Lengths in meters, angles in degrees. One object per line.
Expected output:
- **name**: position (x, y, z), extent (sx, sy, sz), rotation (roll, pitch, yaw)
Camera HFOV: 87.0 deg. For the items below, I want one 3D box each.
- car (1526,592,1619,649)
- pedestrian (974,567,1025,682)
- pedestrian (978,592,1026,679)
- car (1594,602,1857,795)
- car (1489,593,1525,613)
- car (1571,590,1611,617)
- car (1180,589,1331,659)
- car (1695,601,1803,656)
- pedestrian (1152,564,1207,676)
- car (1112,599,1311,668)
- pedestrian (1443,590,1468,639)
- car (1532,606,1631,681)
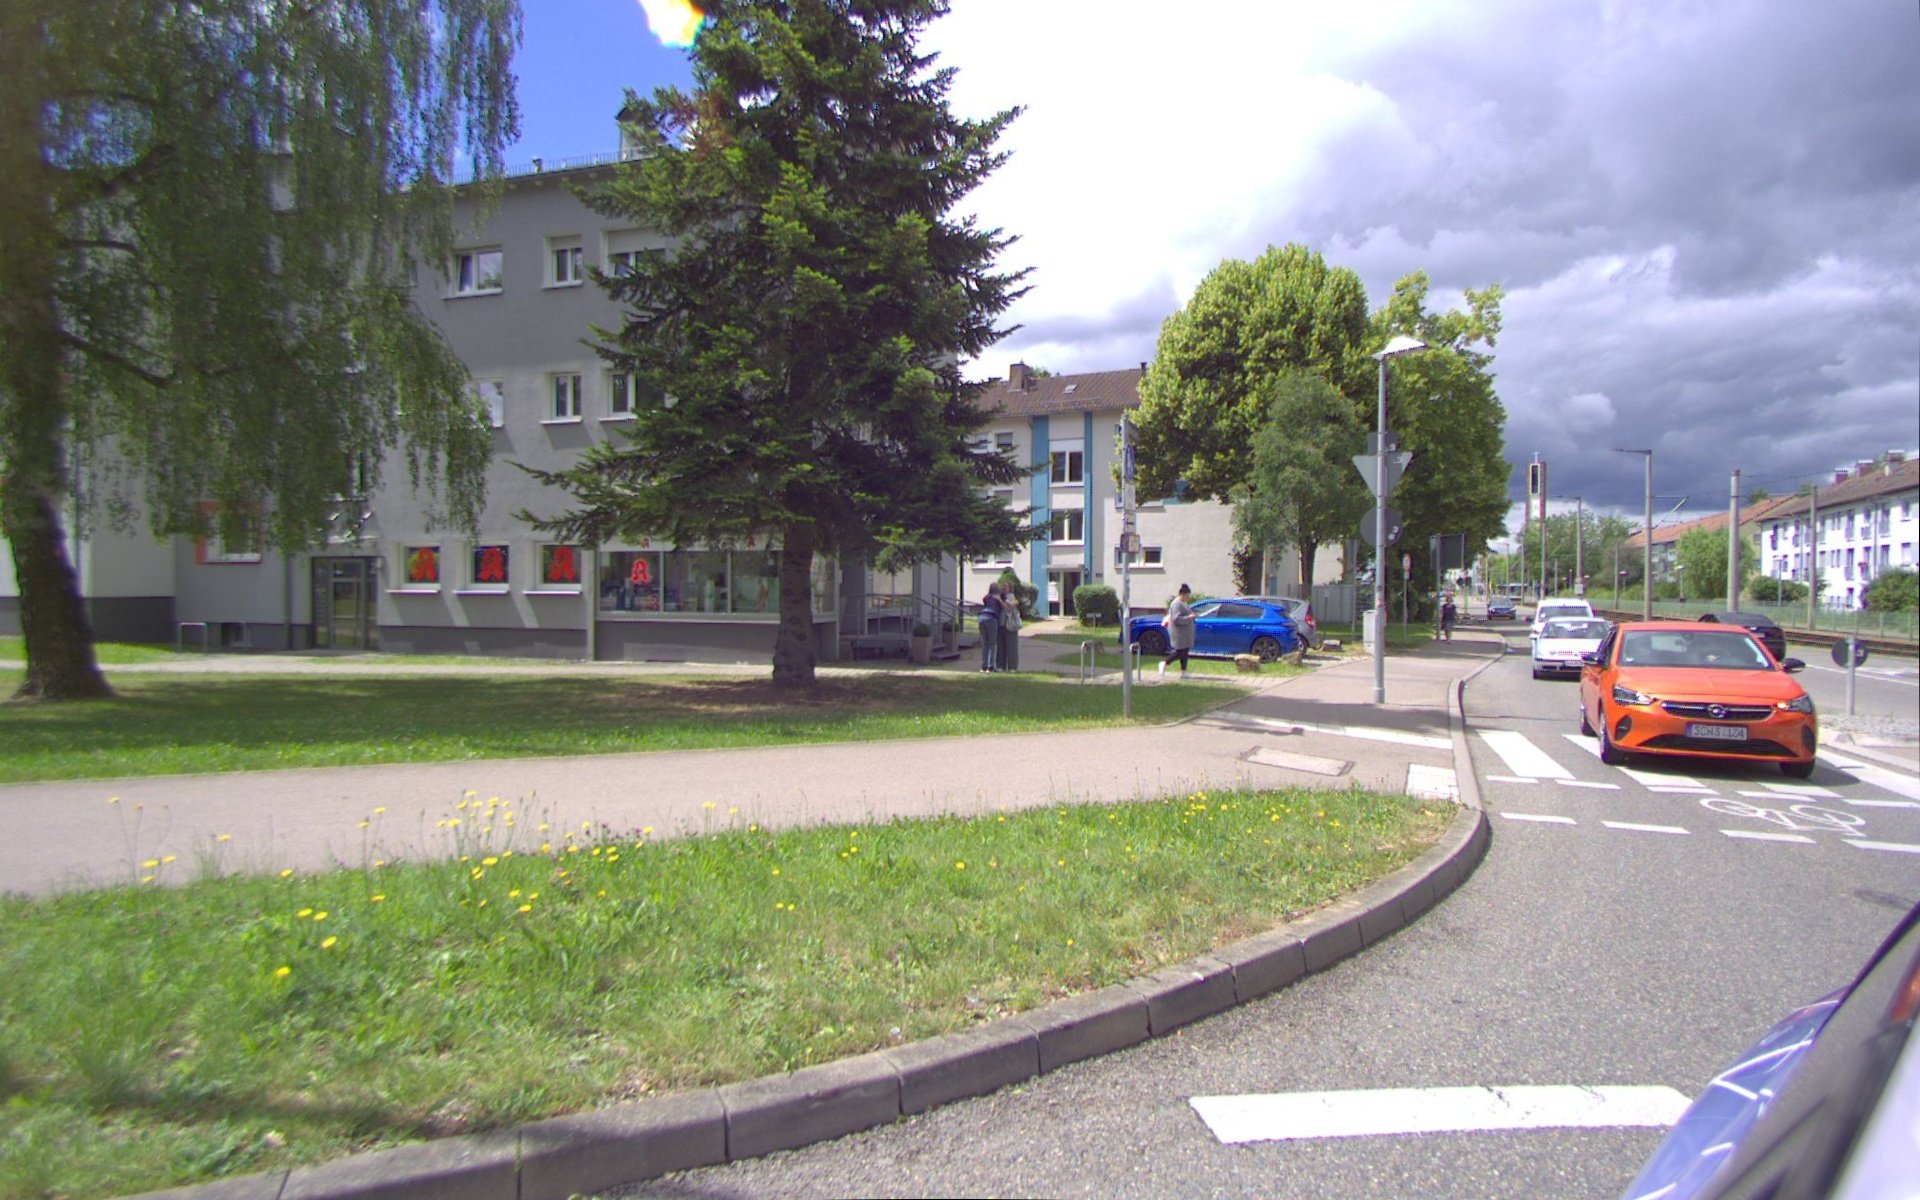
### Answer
- **car**: position (19.188, 0.581, 31.874), extent (1.978, 1.627, 3.968), rotation (2, 1, 24)
- **pedestrian**: position (0.730, 0.426, 18.587), extent (0.647, 2.039, 1.041), rotation (1, 1, 17)
- **pedestrian**: position (0.786, 0.639, 18.765), extent (0.734, 1.549, 0.688), rotation (1, 1, 16)
- **car**: position (7.997, 0.858, 10.948), extent (1.752, 1.577, 3.958), rotation (1, 1, 30)
- **car**: position (39.524, 0.166, 73.132), extent (1.907, 1.333, 3.952), rotation (2, 2, 34)
- **car**: position (41.733, 0.205, 67.036), extent (1.983, 1.544, 4.478), rotation (3, 3, 30)
- **car**: position (7.973, 0.600, 27.341), extent (3.694, 1.576, 2.019), rotation (4, 1, 19)
- **car**: position (23.528, 0.779, 30.347), extent (1.808, 1.401, 4.571), rotation (2, 1, 29)
- **pedestrian**: position (4.043, 0.351, 18.642), extent (0.928, 1.981, 0.839), rotation (1, 1, 13)
- **car**: position (6.090, 0.750, 24.581), extent (4.438, 1.259, 1.989), rotation (4, 2, 18)
- **pedestrian**: position (17.654, 0.507, 36.070), extent (0.676, 1.681, 0.826), rotation (2, 1, 21)
- **car**: position (14.238, 0.919, 23.095), extent (1.753, 1.415, 3.952), rotation (2, 2, 34)
